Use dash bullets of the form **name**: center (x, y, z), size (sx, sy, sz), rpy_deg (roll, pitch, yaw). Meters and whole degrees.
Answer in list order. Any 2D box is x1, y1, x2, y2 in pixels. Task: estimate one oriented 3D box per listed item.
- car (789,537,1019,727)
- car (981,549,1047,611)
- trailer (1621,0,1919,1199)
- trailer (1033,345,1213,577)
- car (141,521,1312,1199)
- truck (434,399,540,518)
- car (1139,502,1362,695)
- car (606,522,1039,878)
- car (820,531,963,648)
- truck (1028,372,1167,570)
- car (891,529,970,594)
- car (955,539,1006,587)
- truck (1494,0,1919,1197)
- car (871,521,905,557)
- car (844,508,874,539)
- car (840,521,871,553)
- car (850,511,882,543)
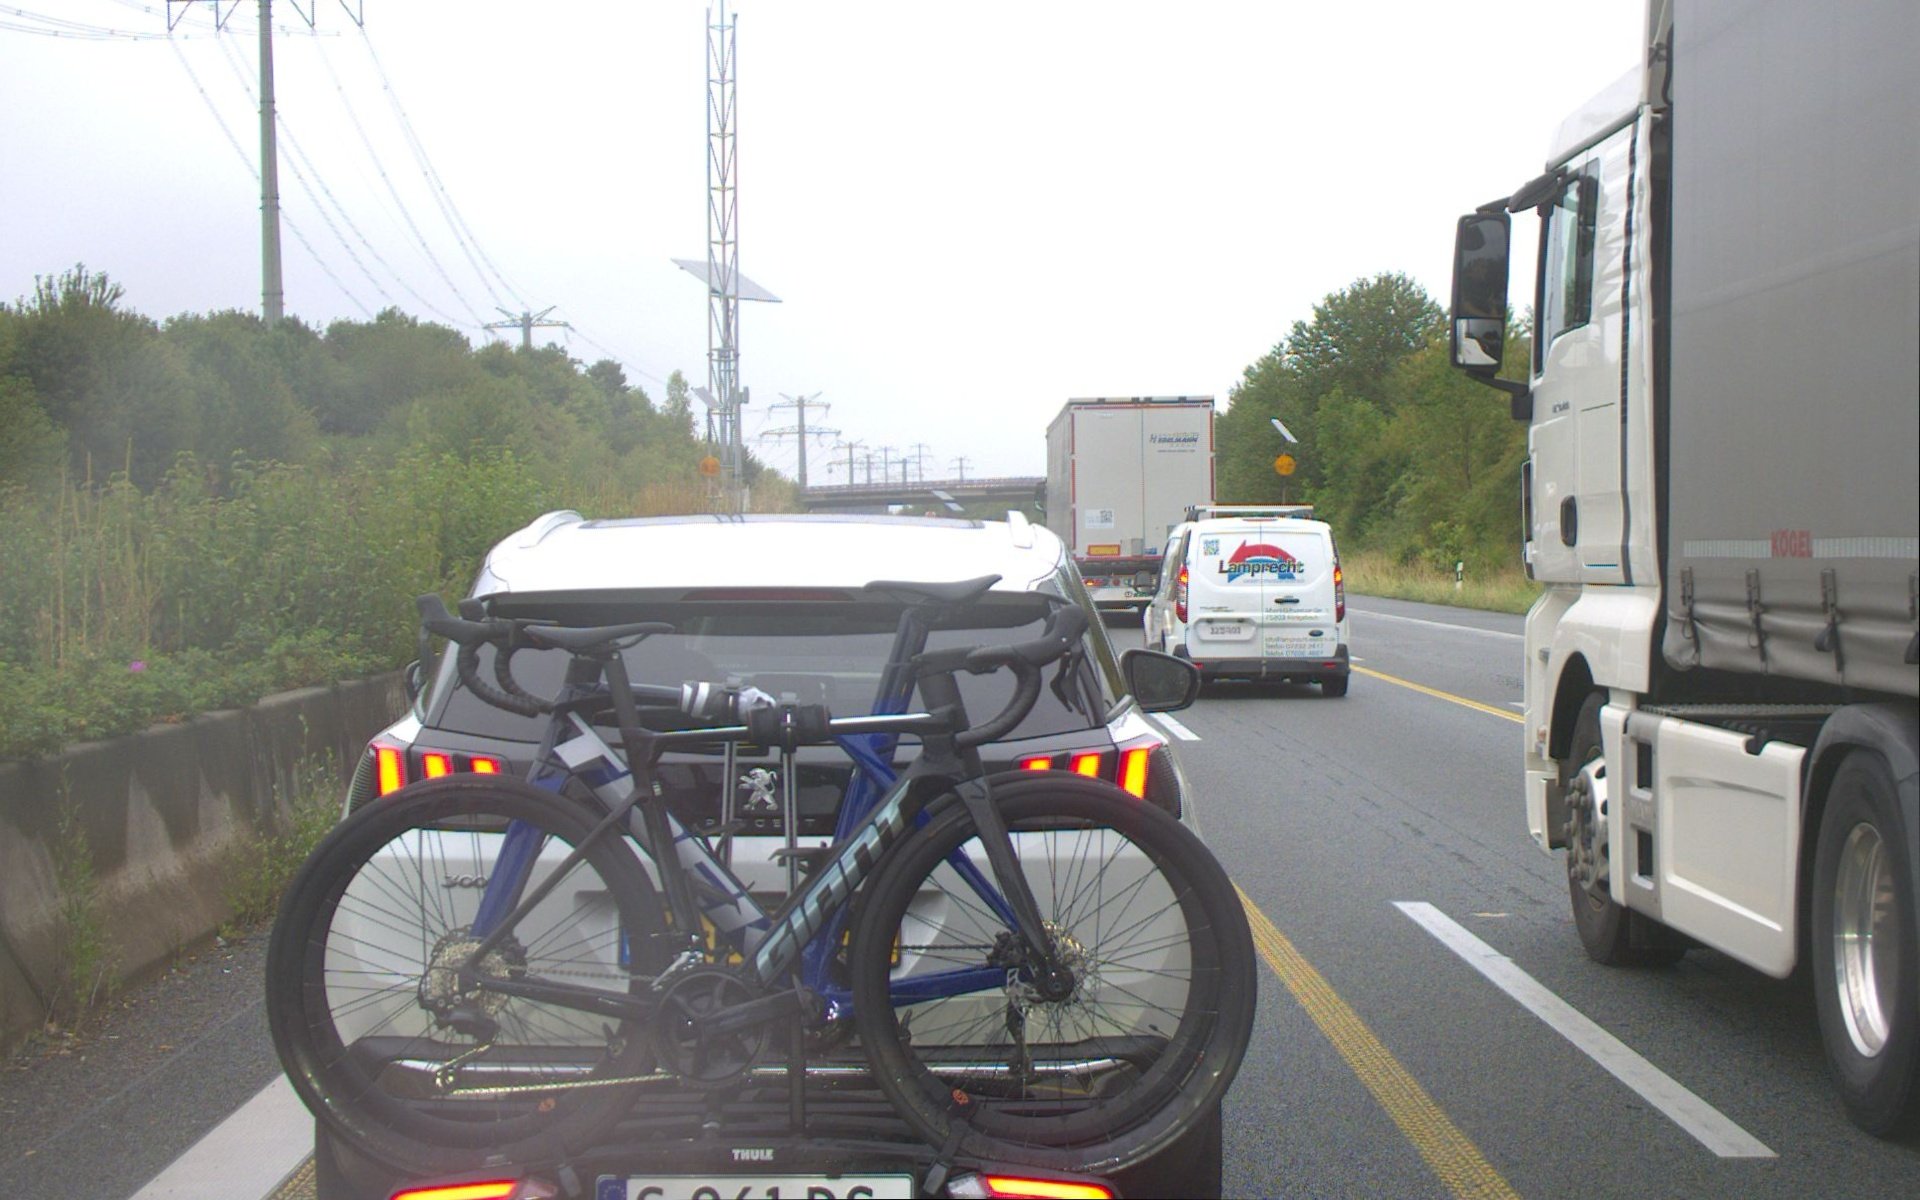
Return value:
- **car**: center (-0.474, 0.222, 29.694), size (1.850, 1.525, 4.000), rpy_deg (0, 1, -1)
- **car**: center (1.816, -0.697, 116.770), size (2.110, 1.966, 4.001), rpy_deg (0, 2, -1)
- **trailer**: center (3.544, -0.637, 4.114), size (2.706, 4.132, 13.733), rpy_deg (0, 1, -1)
- **trailer**: center (2.993, -2.556, 66.981), size (2.692, 4.062, 13.634), rpy_deg (0, 1, -1)
- **car**: center (-0.396, 0.595, 7.828), size (1.850, 1.525, 4.769), rpy_deg (0, 1, -1)
- **truck**: center (-17.088, -5.058, 124.717), size (2.785, 4.010, 7.234), rpy_deg (-3, 1, -1)
- **car**: center (2.888, -0.055, 35.097), size (1.829, 1.833, 4.656), rpy_deg (0, 1, -1)
- **car**: center (-0.612, 0.393, 16.744), size (1.850, 1.525, 4.000), rpy_deg (0, 1, -1)
- **car**: center (-0.909, -0.172, 46.666), size (1.850, 1.525, 4.000), rpy_deg (0, 1, -1)
- **truck**: center (2.893, -2.712, 74.071), size (2.660, 4.062, 6.539), rpy_deg (0, 1, -1)
- **car**: center (-0.719, -0.954, 83.390), size (1.850, 1.525, 4.000), rpy_deg (0, 1, -1)
- **car**: center (0.869, -1.599, 147.578), size (2.148, 1.966, 4.001), rpy_deg (0, 2, -1)
- **truck**: center (3.509, -0.731, 10.788), size (2.706, 4.124, 5.691), rpy_deg (0, 1, -1)
- **car**: center (-4.124, -3.507, 197.330), size (1.931, 1.966, 4.001), rpy_deg (0, 2, -1)
- **car**: center (-6.694, -5.083, 228.277), size (1.931, 1.966, 4.001), rpy_deg (0, 2, -1)
- **car**: center (-6.778, -4.089, 222.666), size (1.931, 1.966, 4.001), rpy_deg (0, 2, -1)
- **car**: center (-5.883, -4.576, 215.603), size (1.931, 1.904, 4.001), rpy_deg (0, 2, -1)
